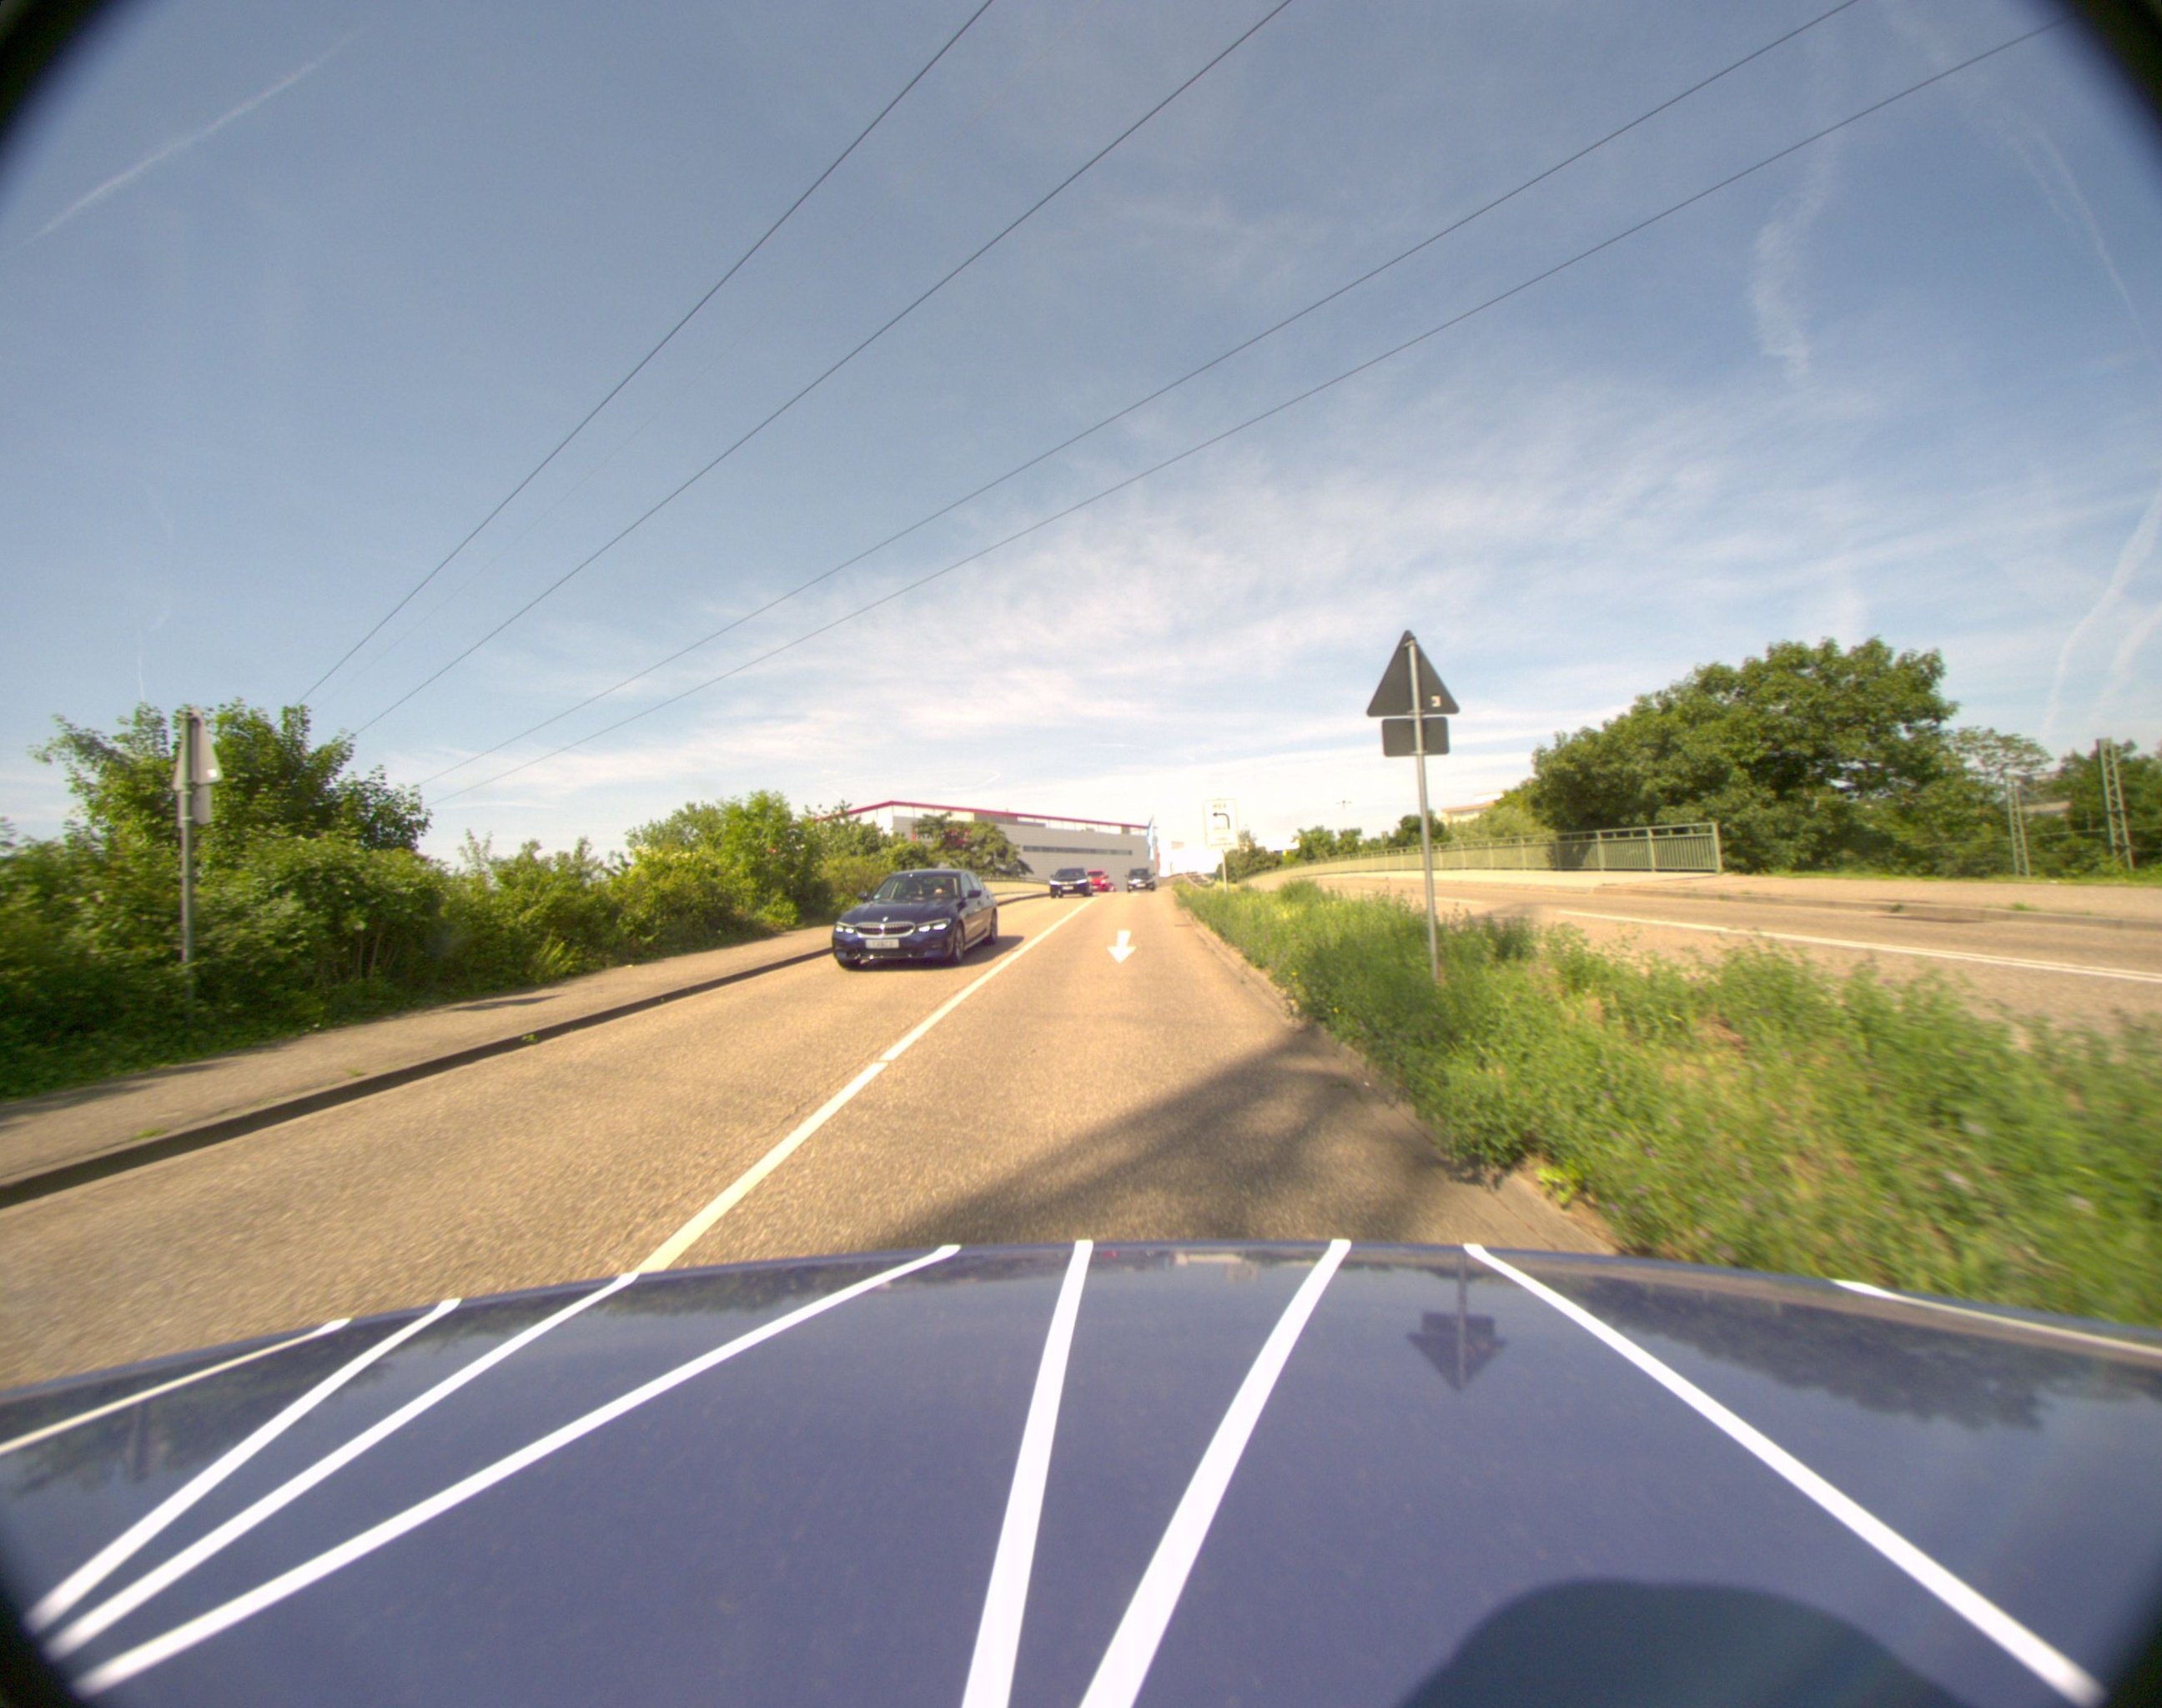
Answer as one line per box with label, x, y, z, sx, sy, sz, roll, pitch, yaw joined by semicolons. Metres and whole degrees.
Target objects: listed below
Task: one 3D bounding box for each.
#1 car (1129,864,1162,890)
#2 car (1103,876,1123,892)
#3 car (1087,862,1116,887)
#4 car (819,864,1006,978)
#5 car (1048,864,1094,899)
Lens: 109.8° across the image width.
car;3.899;1.357;46.199;1.849;1.409;4.002;-3;-1;4
car;3.549;3.294;83.569;1.776;1.648;4.148;-2;-3;7
car;1.787;1.762;64.359;1.987;1.895;4.148;-4;-3;6
car;-2.585;1.052;12.854;1.791;1.474;4.523;-4;-3;4
car;-0.437;1.384;38.097;1.860;1.519;4.147;-4;-2;4
